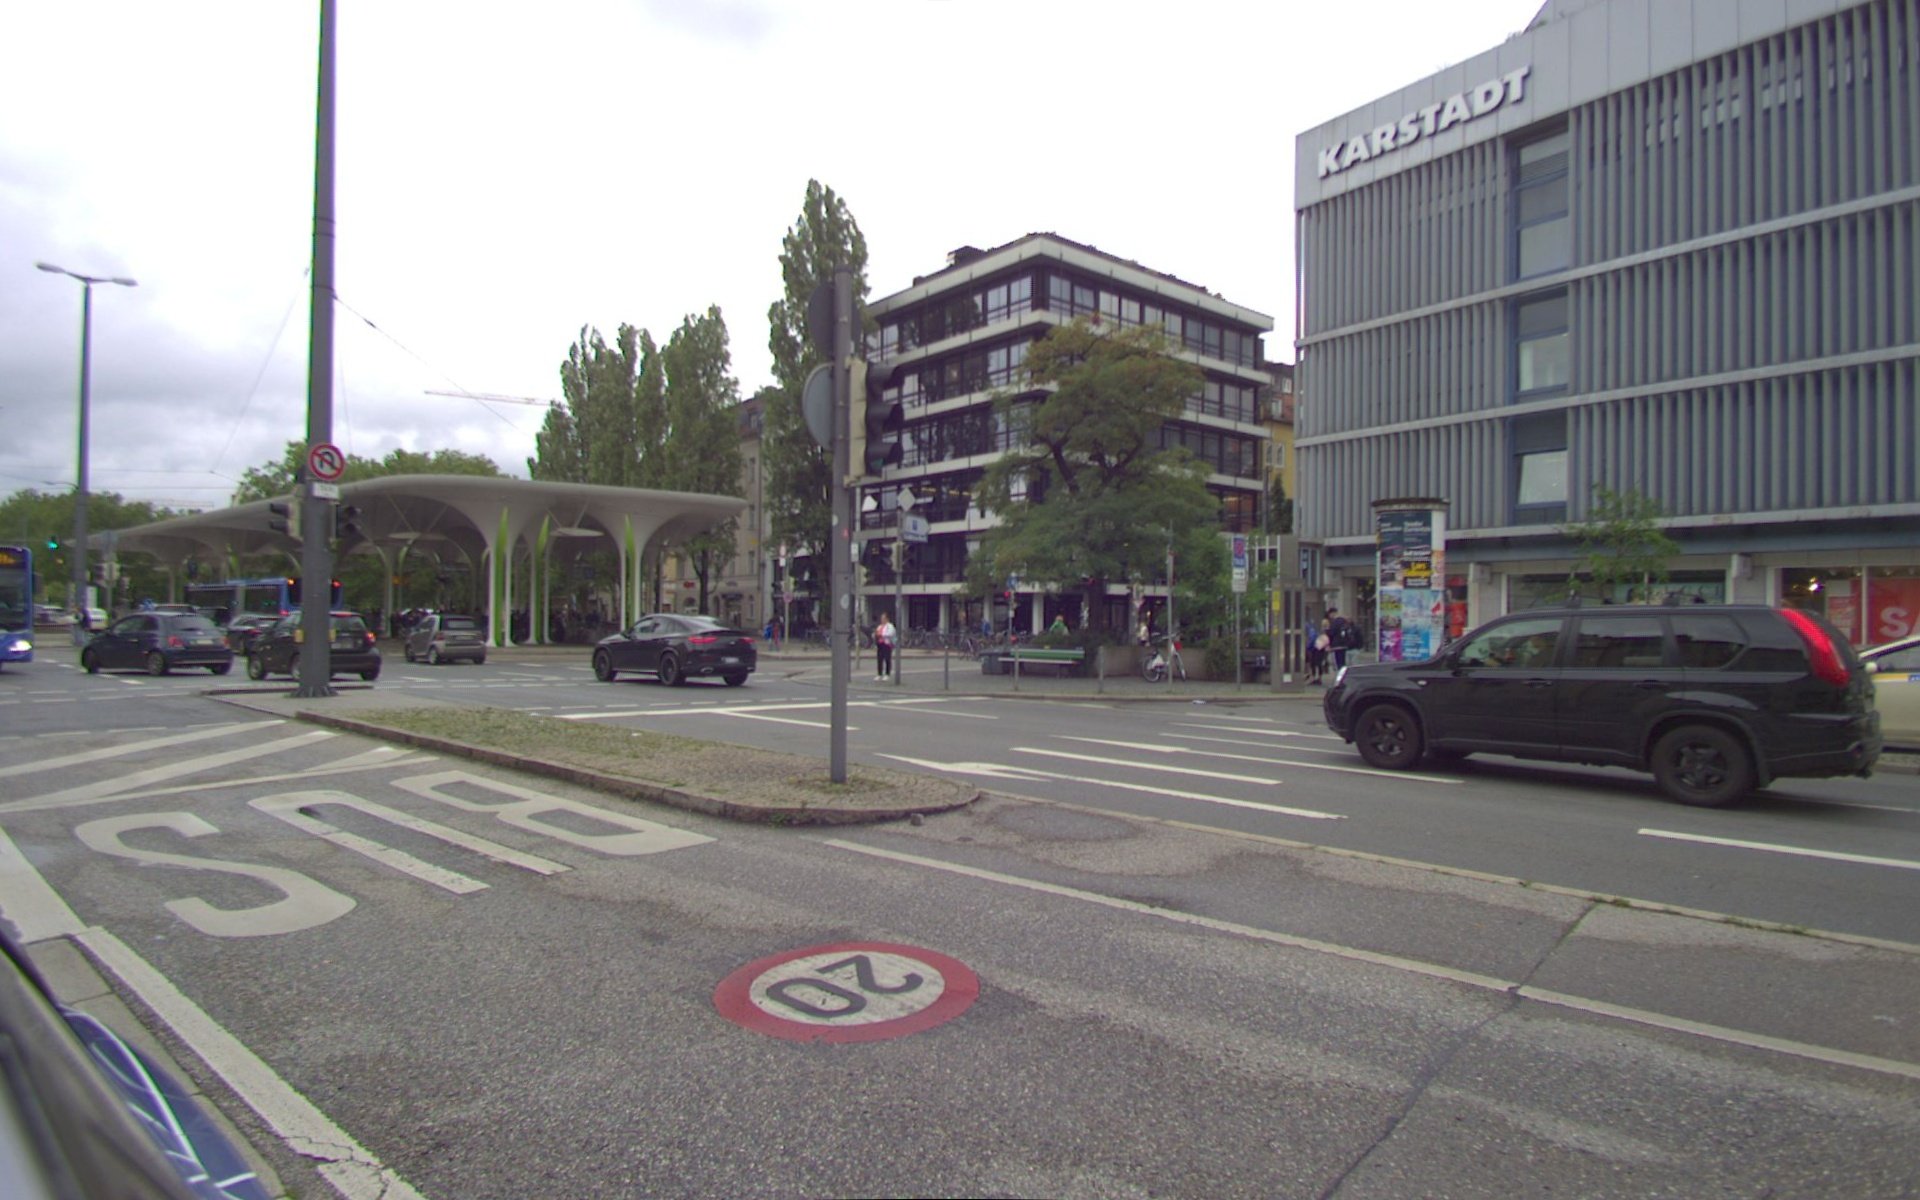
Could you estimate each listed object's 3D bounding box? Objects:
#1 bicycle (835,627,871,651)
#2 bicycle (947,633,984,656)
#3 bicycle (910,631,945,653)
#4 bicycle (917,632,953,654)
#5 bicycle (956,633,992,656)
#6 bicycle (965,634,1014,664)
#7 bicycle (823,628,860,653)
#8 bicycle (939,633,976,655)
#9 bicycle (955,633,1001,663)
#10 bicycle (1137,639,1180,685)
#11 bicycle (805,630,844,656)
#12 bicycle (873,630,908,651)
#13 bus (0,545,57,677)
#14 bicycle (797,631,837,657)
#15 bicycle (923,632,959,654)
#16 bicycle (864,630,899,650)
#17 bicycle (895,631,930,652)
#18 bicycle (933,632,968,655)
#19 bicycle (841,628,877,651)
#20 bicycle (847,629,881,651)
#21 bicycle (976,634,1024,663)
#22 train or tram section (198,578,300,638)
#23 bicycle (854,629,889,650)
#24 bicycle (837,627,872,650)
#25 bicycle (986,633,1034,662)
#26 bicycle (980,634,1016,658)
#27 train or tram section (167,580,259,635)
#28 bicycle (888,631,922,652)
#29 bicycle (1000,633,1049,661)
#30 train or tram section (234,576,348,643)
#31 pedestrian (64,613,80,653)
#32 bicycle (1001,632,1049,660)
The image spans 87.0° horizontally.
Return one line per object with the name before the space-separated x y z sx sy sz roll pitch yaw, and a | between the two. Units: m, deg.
bicycle | -5.085 1.862 48.136 1.661 1.106 0.470 0 -1 18
bicycle | 0.296 2.279 52.216 2.044 1.142 0.562 2 -2 -43
bicycle | -1.736 2.269 54.618 2.044 1.142 0.562 2 -2 -43
bicycle | -1.327 2.270 54.155 2.044 1.142 0.562 2 -2 -43
bicycle | 0.723 2.280 51.771 2.044 1.142 0.562 2 -2 -43
bicycle | 1.065 1.768 36.725 1.925 1.006 0.503 -1 -2 43
bicycle | -5.492 1.875 46.787 1.661 1.106 0.470 0 -1 18
bicycle | -0.122 2.277 52.652 2.044 1.142 0.562 2 -2 -43
bicycle | 0.641 1.712 36.292 1.751 1.006 0.503 -1 -2 43
bicycle | 4.622 1.429 23.484 0.419 1.024 1.281 -1 -2 39
bicycle | -5.951 1.896 44.467 1.661 1.106 0.470 0 -1 18
bicycle | -3.900 2.261 56.833 2.044 1.142 0.562 2 -2 -43
bus | -26.490 0.231 25.444 11.181 2.966 2.910 0 0 33
bicycle | -6.159 1.904 43.689 1.661 1.106 0.470 0 -1 18
bicycle | -0.996 2.273 53.636 2.044 1.142 0.562 2 -2 -43
bicycle | -4.442 2.259 57.333 2.044 1.142 0.562 2 -2 -43
bicycle | -2.607 2.265 55.523 2.044 1.142 0.562 2 -2 -43
bicycle | -0.492 2.275 53.135 2.044 1.142 0.562 2 -2 -43
bicycle | -4.970 1.942 49.790 1.655 1.106 0.472 0 -1 8
bicycle | -4.835 2.002 51.055 1.655 1.106 0.472 0 -1 8
bicycle | 1.455 1.762 37.123 1.925 1.006 0.503 -1 -2 43
train or tram section | -38.359 0.487 54.477 7.404 3.024 2.803 -1 -2 41
bicycle | -5.062 2.258 57.901 2.044 1.142 0.562 2 -2 -43
bicycle | -5.091 1.857 48.851 1.661 1.106 0.470 0 -1 18
bicycle | 1.850 1.757 37.609 1.925 1.006 0.503 -1 -2 43
bicycle | 1.910 2.284 50.593 2.044 1.142 0.562 2 -2 -43
train or tram section | -43.905 0.475 59.388 7.404 3.024 2.803 -1 -2 41
bicycle | -3.034 2.264 55.953 2.044 1.142 0.562 2 -2 -43
bicycle | 2.400 1.752 37.842 1.925 1.006 0.503 -1 -2 43
train or tram section | -32.833 0.496 49.563 7.404 3.024 2.803 -1 -2 41
pedestrian | -32.396 1.198 36.917 0.380 1.430 0.352 -1 -2 41
bicycle | 2.470 1.745 38.727 1.925 1.006 0.503 -1 -2 43
